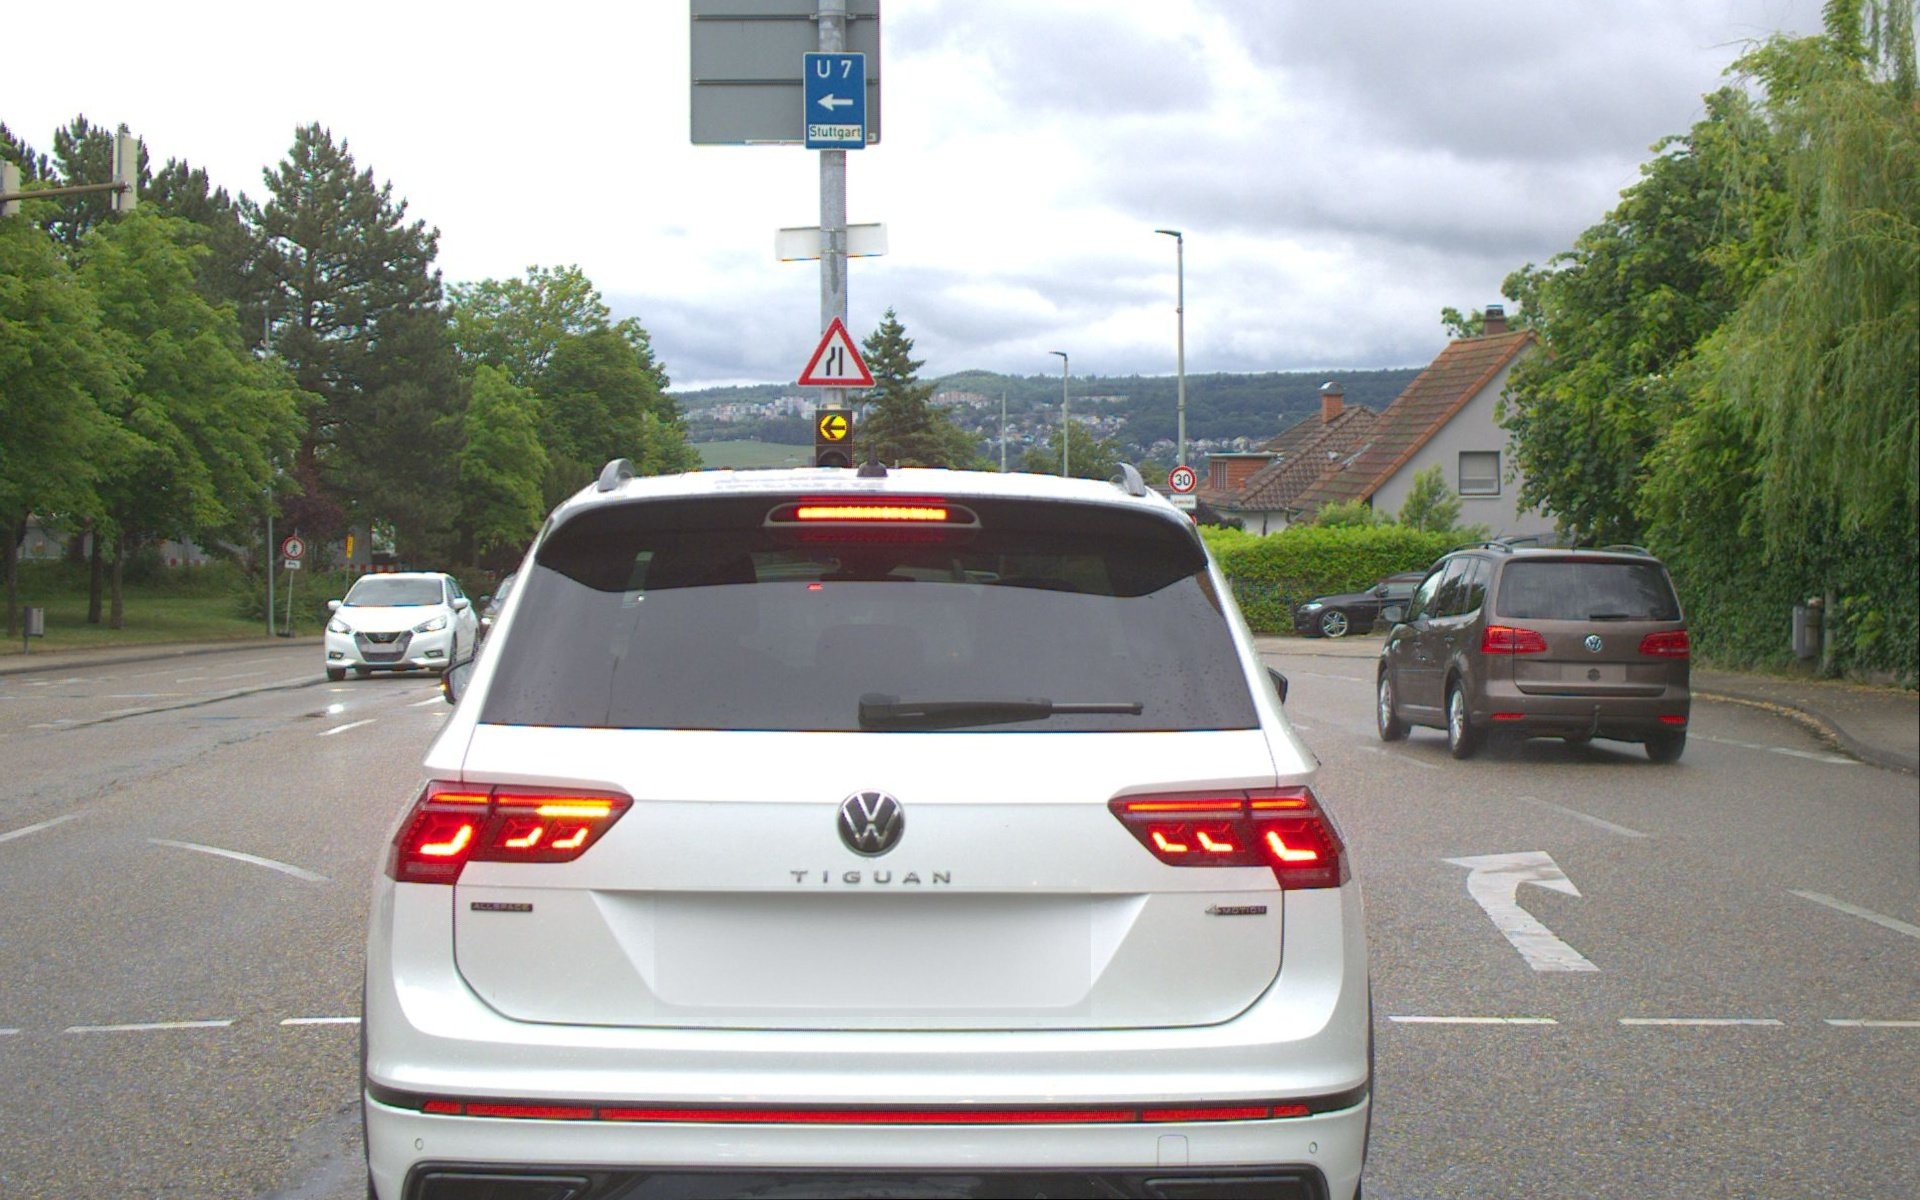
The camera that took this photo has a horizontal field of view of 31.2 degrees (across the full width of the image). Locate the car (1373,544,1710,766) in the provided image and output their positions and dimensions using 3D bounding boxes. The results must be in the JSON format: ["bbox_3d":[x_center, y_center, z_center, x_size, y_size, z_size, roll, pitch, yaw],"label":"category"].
[{"bbox_3d":[4.468,0.367,26.986,1.735,1.569,4.069,1,1,-3],"label":"car"}]

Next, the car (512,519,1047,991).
[{"bbox_3d":[-0.622,0.495,13.645,1.798,1.584,3.926,1,1,0],"label":"car"}]

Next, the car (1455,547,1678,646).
[{"bbox_3d":[10.901,-0.068,61.915,3.627,1.740,1.708,0,1,-4],"label":"car"}]

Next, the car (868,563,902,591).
[{"bbox_3d":[-4.361,-1.352,200.329,1.850,1.569,4.000,-1,1,0],"label":"car"}]

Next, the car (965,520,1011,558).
[{"bbox_3d":[1.176,-2.574,145.768,1.850,1.569,4.000,-1,1,0],"label":"car"}]

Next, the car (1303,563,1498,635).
[{"bbox_3d":[8.856,-0.012,69.314,3.687,1.365,1.519,1,-1,-2],"label":"car"}]

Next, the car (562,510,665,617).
[{"bbox_3d":[-8.511,-0.928,84.948,2.297,2.519,5.774,0,1,-3],"label":"car"}]

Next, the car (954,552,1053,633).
[{"bbox_3d":[0.795,-0.158,65.128,1.680,1.455,3.802,1,1,-2],"label":"car"}]

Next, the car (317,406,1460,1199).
[{"bbox_3d":[-0.171,0.533,7.565,1.763,1.690,4.273,2,1,-1],"label":"car"}]

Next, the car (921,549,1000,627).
[{"bbox_3d":[-0.018,-0.296,79.689,1.712,1.752,3.802,0,1,-2],"label":"car"}]

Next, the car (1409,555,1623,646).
[{"bbox_3d":[10.415,0.001,64.531,3.627,1.620,1.792,1,2,-4],"label":"car"}]

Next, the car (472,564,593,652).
[{"bbox_3d":[-7.883,0.121,63.715,1.775,1.497,4.472,-2,1,-2],"label":"car"}]

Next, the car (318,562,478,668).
[{"bbox_3d":[-7.770,0.179,47.813,1.746,1.392,3.802,0,1,-2],"label":"car"}]
